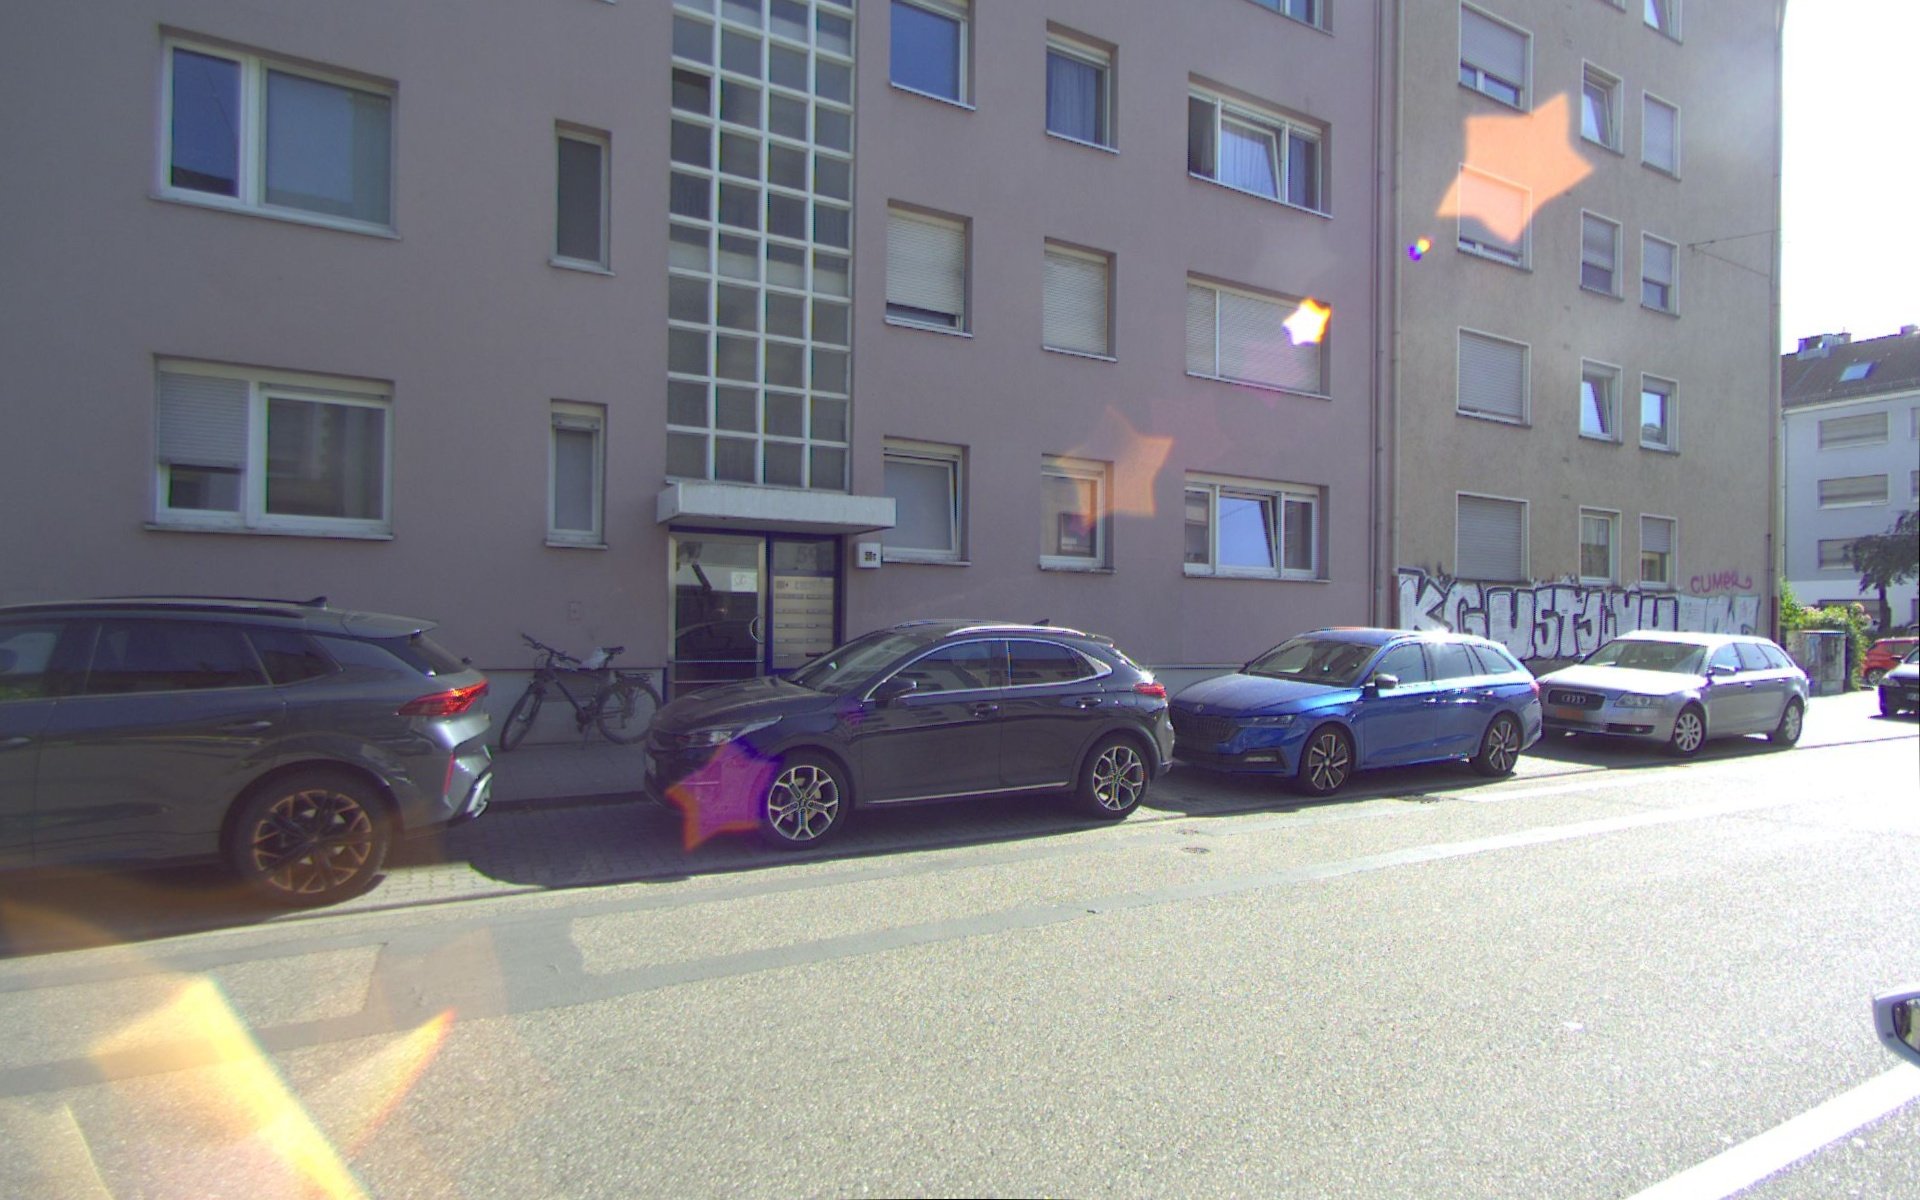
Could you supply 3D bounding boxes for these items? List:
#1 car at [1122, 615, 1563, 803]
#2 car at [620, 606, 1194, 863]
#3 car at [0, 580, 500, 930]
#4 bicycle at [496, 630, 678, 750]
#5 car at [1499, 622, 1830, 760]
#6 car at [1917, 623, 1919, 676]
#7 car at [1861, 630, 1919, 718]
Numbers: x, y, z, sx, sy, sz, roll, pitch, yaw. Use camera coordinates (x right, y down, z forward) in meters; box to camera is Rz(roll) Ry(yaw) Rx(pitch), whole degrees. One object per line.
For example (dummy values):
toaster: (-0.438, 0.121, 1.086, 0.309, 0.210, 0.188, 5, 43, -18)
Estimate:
car: (4.045, 0.987, 10.422, 4.570, 1.517, 1.713, 1, 2, -29)
car: (-0.415, 0.896, 8.119, 4.174, 1.517, 1.986, 1, 2, -27)
car: (-4.966, 0.724, 5.532, 4.311, 1.627, 1.869, 2, 1, -28)
bicycle: (-3.667, 0.858, 9.925, 1.626, 1.098, 0.414, 1, 1, -29)
car: (9.510, 1.117, 13.471, 4.703, 1.489, 1.768, 2, 1, -30)
car: (31.774, 1.553, 30.290, 1.526, 1.648, 3.966, 1, -1, -32)
car: (18.458, 1.348, 18.490, 3.953, 1.499, 1.645, 1, 0, -30)
